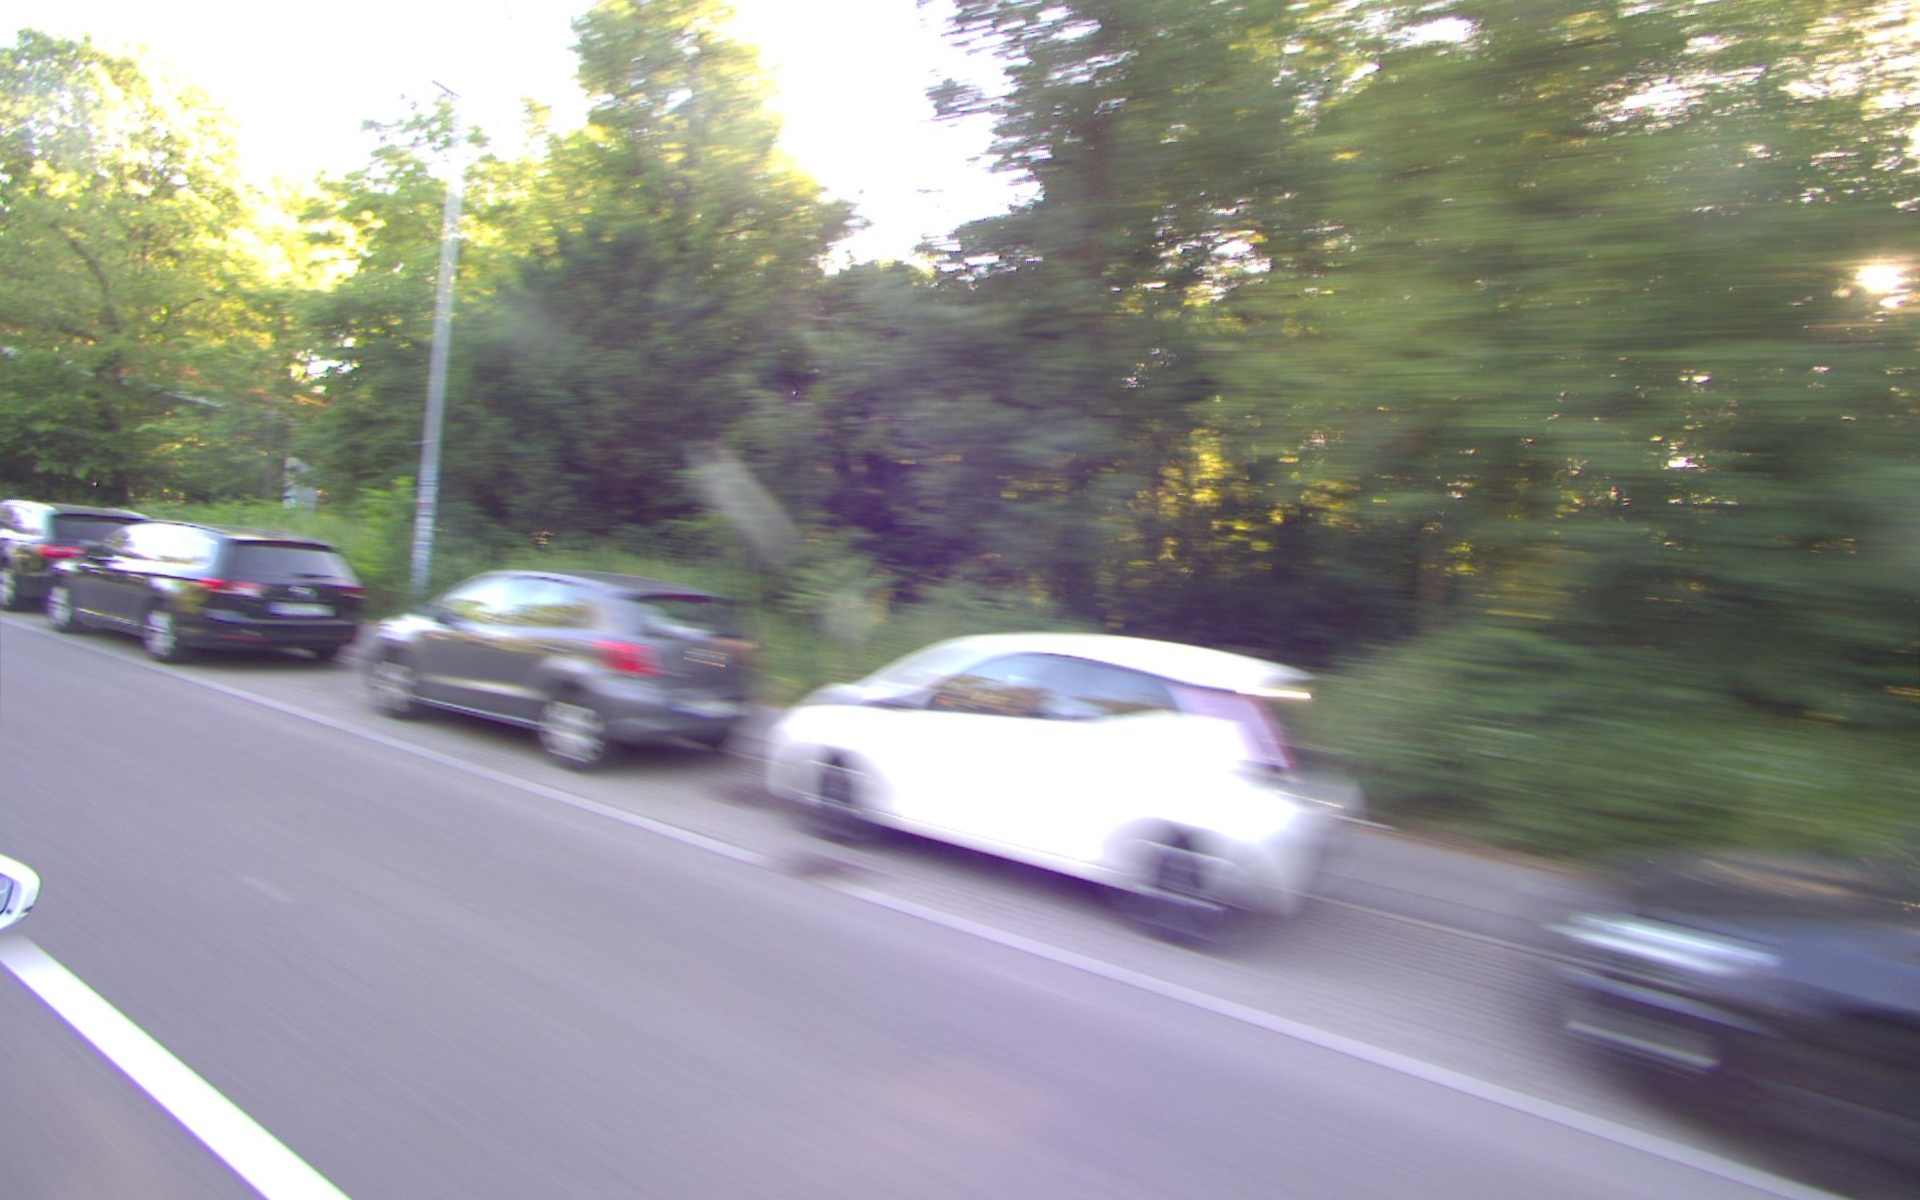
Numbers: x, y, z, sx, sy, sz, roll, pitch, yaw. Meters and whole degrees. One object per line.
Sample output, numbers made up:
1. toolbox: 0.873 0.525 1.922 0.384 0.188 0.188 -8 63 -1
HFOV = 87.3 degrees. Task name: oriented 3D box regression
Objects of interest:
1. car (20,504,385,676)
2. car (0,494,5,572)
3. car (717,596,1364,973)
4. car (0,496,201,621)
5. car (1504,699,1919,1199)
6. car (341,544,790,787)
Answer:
1. car: -8.977 -0.178 11.796 4.815 1.472 1.638 6 1 30
2. car: -19.561 -1.415 18.735 3.951 1.472 1.774 6 1 35
3. car: 0.398 0.916 6.463 3.736 1.472 1.586 6 1 33
4. car: -13.392 -0.705 14.770 4.953 1.472 1.776 6 1 30
5. car: 4.414 1.386 3.425 4.297 1.424 1.870 6 1 32
6. car: -3.528 0.444 8.769 3.878 1.472 1.586 6 1 33
